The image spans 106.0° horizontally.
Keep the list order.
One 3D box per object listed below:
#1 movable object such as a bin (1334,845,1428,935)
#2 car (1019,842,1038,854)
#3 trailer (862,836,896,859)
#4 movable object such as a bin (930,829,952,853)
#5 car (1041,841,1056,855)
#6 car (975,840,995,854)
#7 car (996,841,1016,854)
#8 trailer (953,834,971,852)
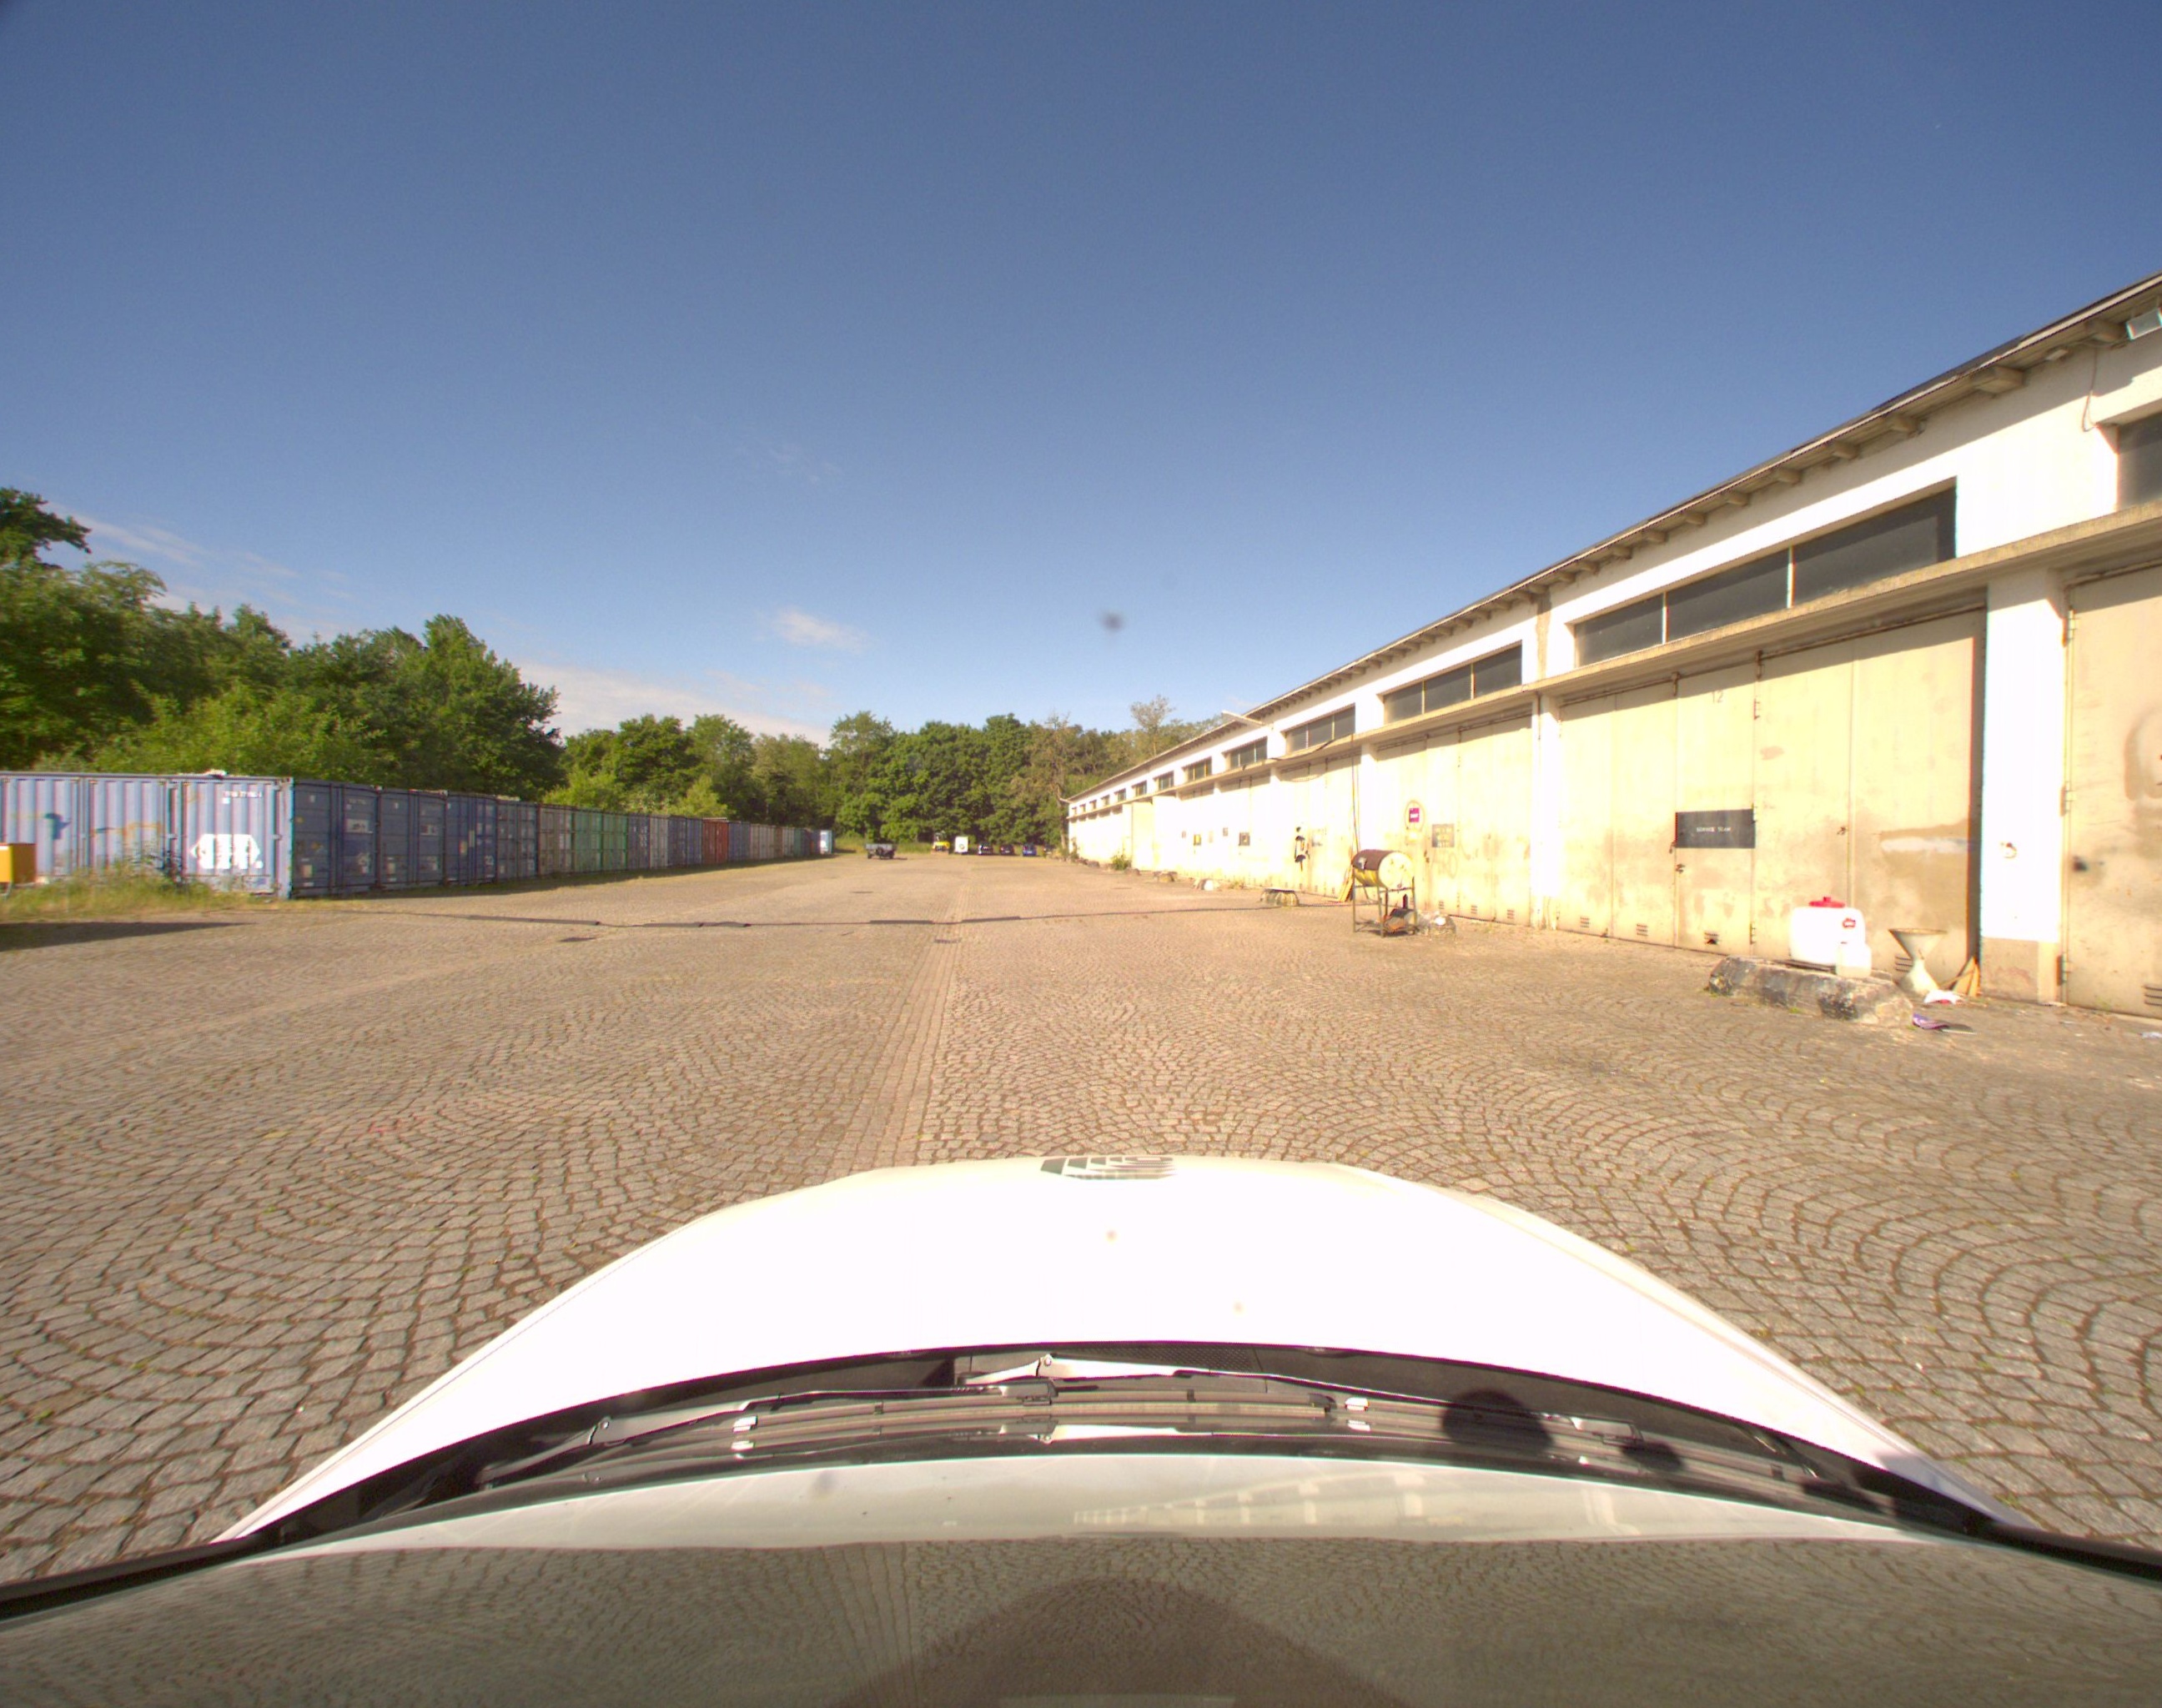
[{"bbox_3d":[4.705,0.531,12.855,0.824,1.331,1.275,0,1,-13],"label":"movable object such as a bin"},{"bbox_3d":[-6.125,-0.717,95.526,1.987,1.420,3.999,0,1,-1],"label":"car"},{"bbox_3d":[-18.797,-0.639,76.028,2.404,2.013,4.165,2,0,-6],"label":"trailer"},{"bbox_3d":[-16.404,-1.539,95.814,1.989,2.618,3.995,2,1,-4],"label":"movable object such as a bin"},{"bbox_3d":[-3.860,-0.749,97.098,1.680,1.563,3.999,0,1,-1],"label":"car"},{"bbox_3d":[-11.084,-0.841,94.413,1.856,1.585,3.999,0,1,-1],"label":"car"},{"bbox_3d":[-8.729,-0.812,95.145,1.987,1.462,3.999,0,1,-1],"label":"car"},{"bbox_3d":[-13.956,-1.259,95.892,1.790,2.090,3.967,0,1,-4],"label":"trailer"}]
